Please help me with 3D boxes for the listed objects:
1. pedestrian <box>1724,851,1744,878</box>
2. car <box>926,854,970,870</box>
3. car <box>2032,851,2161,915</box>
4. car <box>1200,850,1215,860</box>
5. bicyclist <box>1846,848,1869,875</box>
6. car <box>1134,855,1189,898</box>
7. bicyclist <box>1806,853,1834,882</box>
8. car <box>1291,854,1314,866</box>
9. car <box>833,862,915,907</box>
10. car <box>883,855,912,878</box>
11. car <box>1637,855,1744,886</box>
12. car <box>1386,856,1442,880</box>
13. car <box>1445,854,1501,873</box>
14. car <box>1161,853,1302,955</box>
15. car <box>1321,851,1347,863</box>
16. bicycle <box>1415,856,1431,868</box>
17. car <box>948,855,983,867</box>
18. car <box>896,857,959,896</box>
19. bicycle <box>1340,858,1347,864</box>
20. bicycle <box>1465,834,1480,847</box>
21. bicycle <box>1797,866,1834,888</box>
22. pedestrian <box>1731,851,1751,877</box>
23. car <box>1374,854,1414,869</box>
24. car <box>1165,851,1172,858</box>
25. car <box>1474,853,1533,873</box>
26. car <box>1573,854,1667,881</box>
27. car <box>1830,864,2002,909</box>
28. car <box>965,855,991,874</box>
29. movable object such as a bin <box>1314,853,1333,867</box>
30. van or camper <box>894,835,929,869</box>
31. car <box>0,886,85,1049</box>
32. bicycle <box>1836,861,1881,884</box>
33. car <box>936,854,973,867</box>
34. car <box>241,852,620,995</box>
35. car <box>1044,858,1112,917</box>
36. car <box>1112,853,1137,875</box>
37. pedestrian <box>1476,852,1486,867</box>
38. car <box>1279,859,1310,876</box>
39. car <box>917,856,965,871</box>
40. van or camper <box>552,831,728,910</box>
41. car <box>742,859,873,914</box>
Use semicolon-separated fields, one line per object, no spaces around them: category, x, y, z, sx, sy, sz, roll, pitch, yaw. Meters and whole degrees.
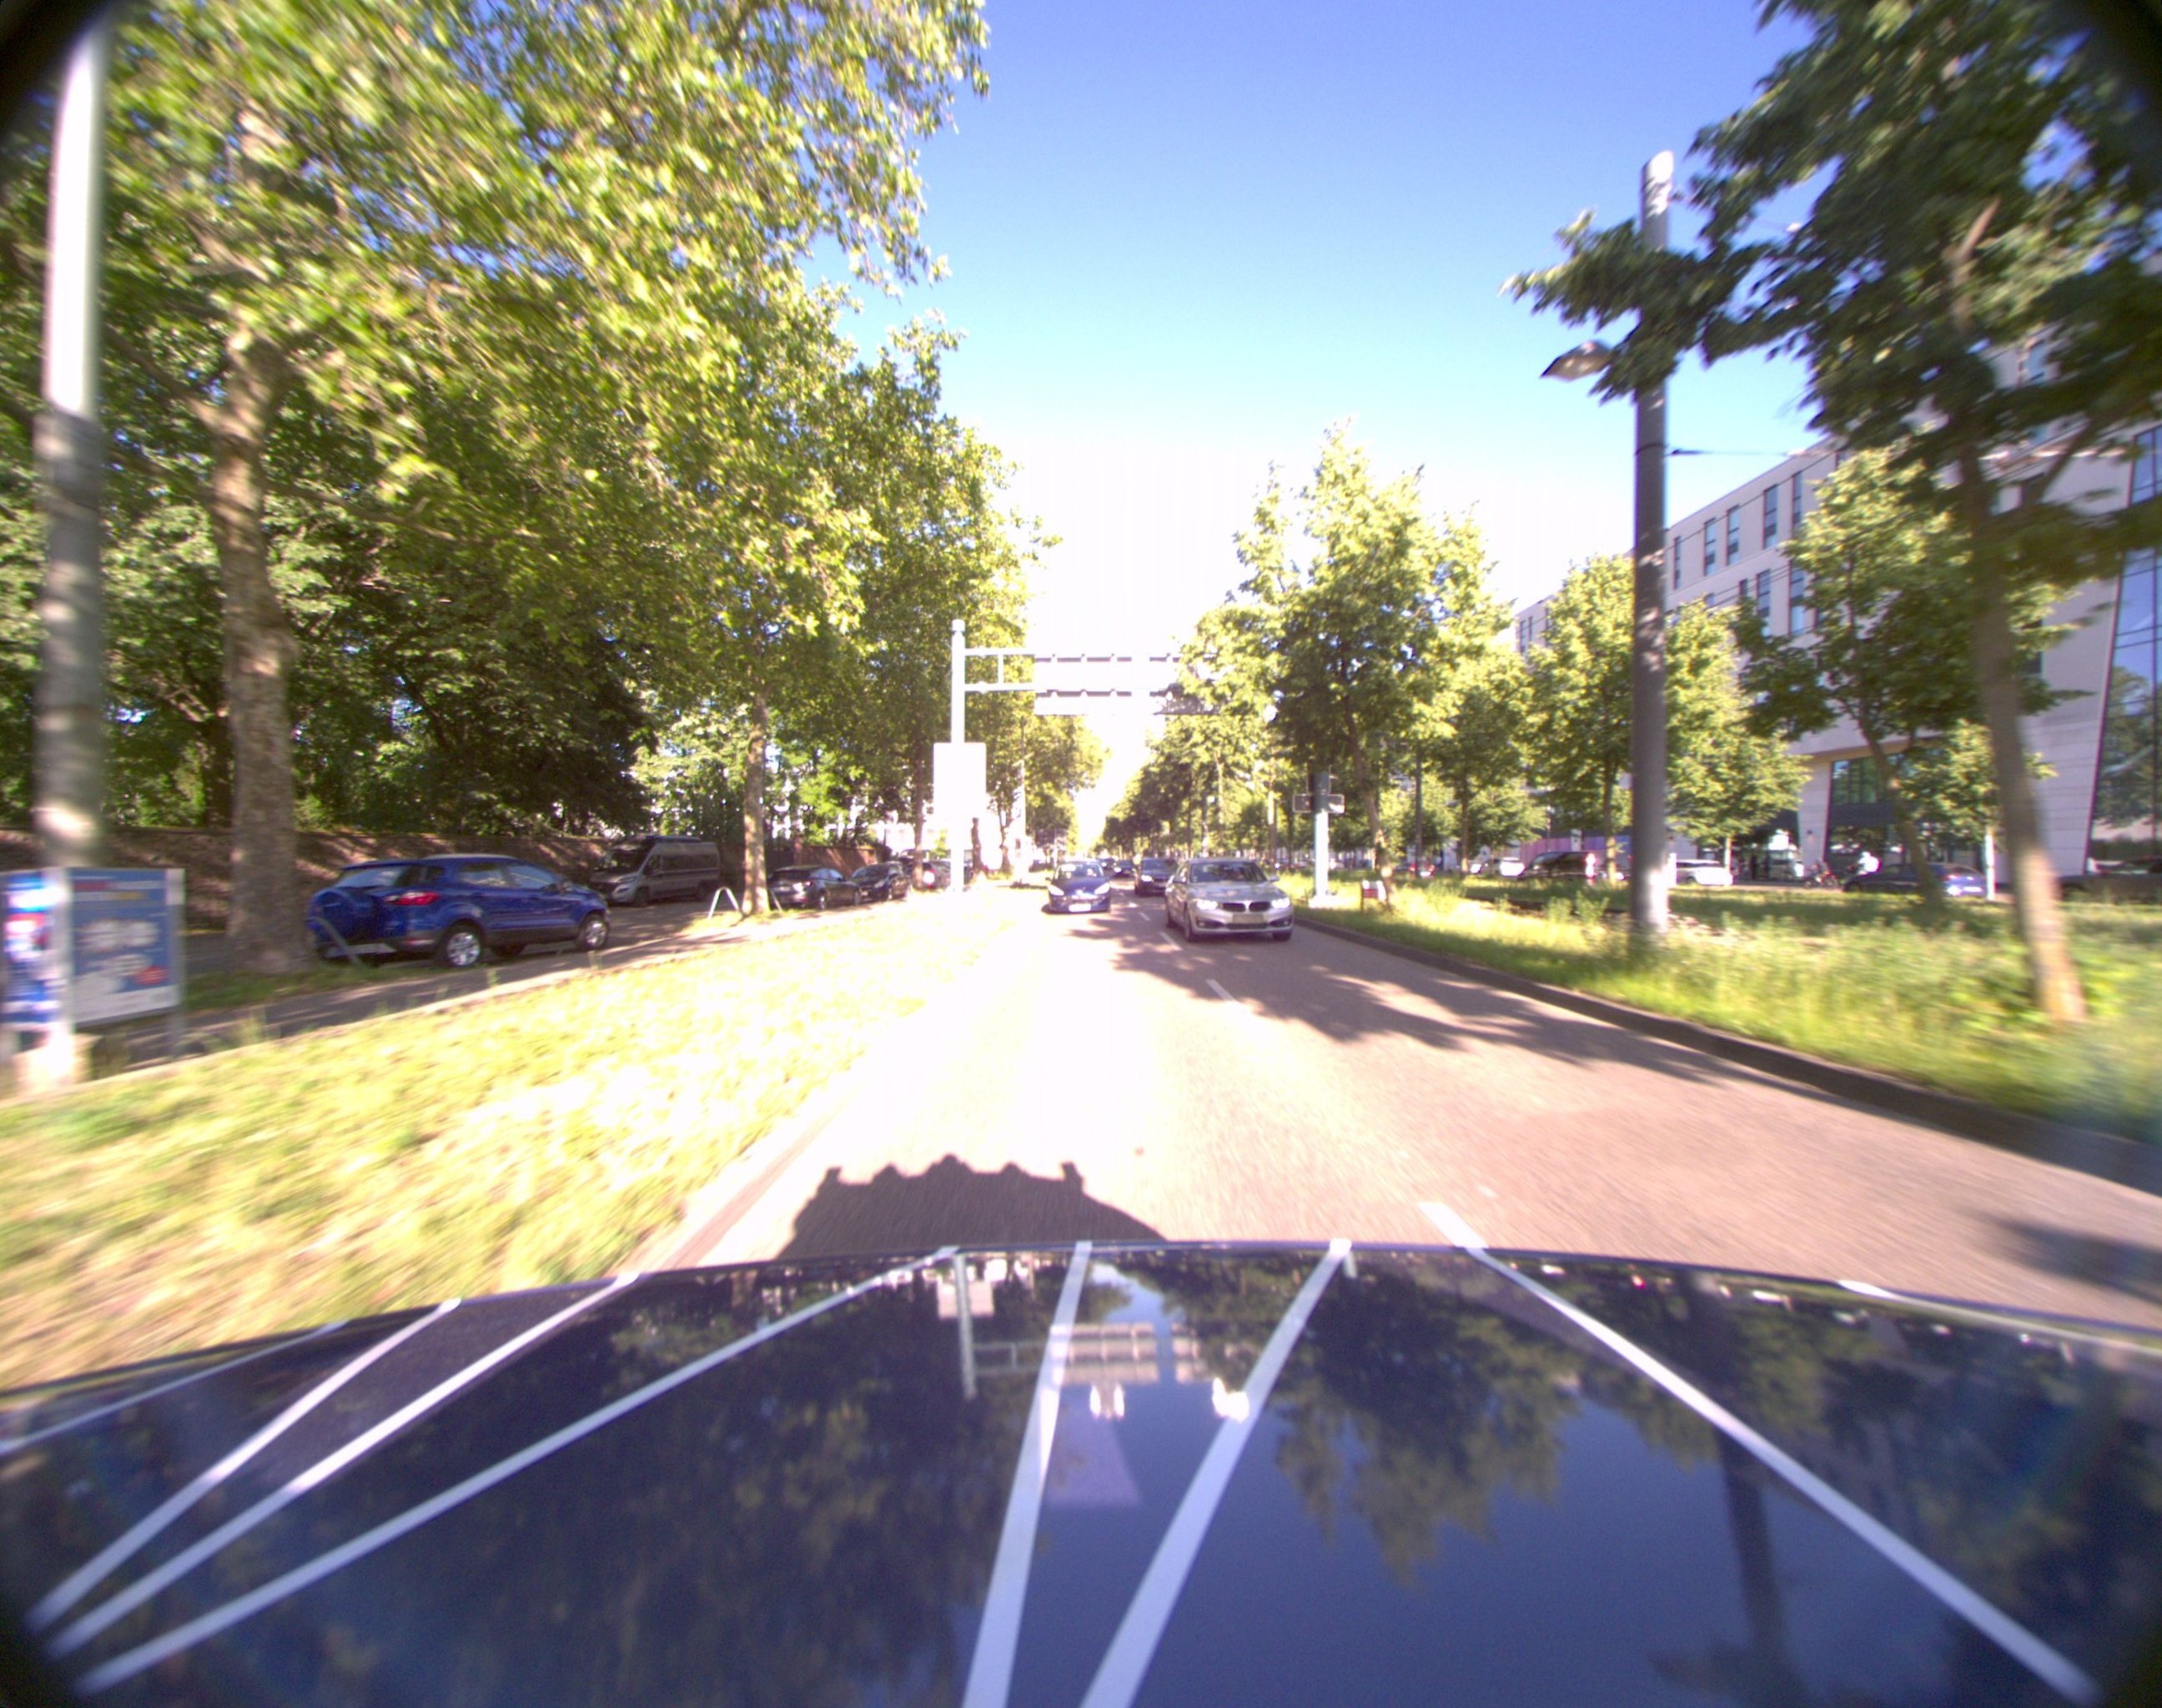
pedestrian;41.487;0.666;48.272;0.637;1.641;0.720;-2;1;-2
car;-14.840;0.894;85.021;4.390;1.403;2.000;4;0;3
car;31.821;0.835;22.222;1.999;1.761;4.775;-2;1;-1
car;23.778;0.195;142.753;1.998;1.676;5.110;-2;1;0
bicyclist;37.187;0.354;36.404;0.368;1.296;0.719;-2;1;2
car;3.172;0.839;30.593;1.950;1.514;4.000;-2;1;3
bicyclist;36.278;0.660;37.304;0.431;1.411;0.956;-2;1;2
car;32.975;0.905;113.129;1.999;1.719;4.337;-2;1;-2
car;-7.652;1.082;28.411;1.797;1.429;3.884;-2;1;3
car;-14.428;0.956;59.968;1.846;1.608;3.996;3;0;-10
car;32.100;0.812;40.212;1.999;1.433;4.455;-2;1;-2
car;23.262;0.931;53.255;1.998;1.519;4.319;-2;1;1
car;32.320;0.774;62.825;1.999;1.433;4.778;-2;1;-2
car;2.683;0.823;14.554;1.886;1.569;4.277;-2;1;1
car;32.408;0.390;97.420;1.999;1.433;4.018;-2;1;-1
bicycle;38.922;0.925;86.514;0.949;1.273;2.773;-2;1;8
car;-14.678;0.880;96.503;4.089;1.459;1.715;1;1;2
car;-7.066;0.989;35.325;1.797;1.551;4.021;-3;1;4
bicycle;39.953;1.064;115.585;0.581;0.947;1.848;-2;1;3
bicycle;39.392;-1.311;76.510;0.599;1.273;1.608;-2;1;-1
bicycle;36.314;1.106;37.578;0.431;1.011;1.484;-2;1;3
pedestrian;42.304;0.636;48.705;0.637;1.641;0.719;-2;1;-7
car;32.590;0.753;79.310;1.999;1.433;4.924;-2;1;-2
car;26.084;0.200;227.022;1.998;2.002;4.000;-2;1;4
car;32.023;0.654;57.768;1.998;1.433;4.455;-2;1;1
car;31.974;0.776;45.281;1.999;1.433;4.935;-2;1;-2
car;31.706;1.181;29.070;1.963;1.433;4.265;-2;1;1
car;-9.545;0.915;70.100;2.001;1.630;3.995;-2;1;-12
movable object such as a bin;32.337;0.834;101.264;1.975;1.784;1.555;-2;1;-1
van or camper;-14.595;-0.180;65.684;1.999;2.715;4.962;2;1;-2
car;-9.743;0.970;4.590;1.998;1.282;4.053;-2;1;2
bicycle;37.198;0.874;36.376;0.380;1.011;1.800;-2;1;3
car;-15.160;0.810;91.163;4.202;1.490;1.782;1;0;-2
car;-9.161;0.838;11.334;1.741;1.632;4.353;-2;1;2
car;-0.007;0.894;22.275;1.766;1.462;4.000;-2;1;2
car;3.357;0.754;59.580;1.782;1.571;3.783;-2;1;1
pedestrian;42.272;0.583;80.235;0.637;1.641;0.720;-2;1;-2
car;20.511;1.246;73.213;1.998;1.433;4.456;-2;1;3
car;-15.086;1.012;82.163;4.731;1.398;2.000;3;0;1
van or camper;-16.887;0.573;29.738;2.561;2.668;6.567;2;0;6
car;-8.212;0.904;23.347;1.998;1.373;4.678;-3;0;4
